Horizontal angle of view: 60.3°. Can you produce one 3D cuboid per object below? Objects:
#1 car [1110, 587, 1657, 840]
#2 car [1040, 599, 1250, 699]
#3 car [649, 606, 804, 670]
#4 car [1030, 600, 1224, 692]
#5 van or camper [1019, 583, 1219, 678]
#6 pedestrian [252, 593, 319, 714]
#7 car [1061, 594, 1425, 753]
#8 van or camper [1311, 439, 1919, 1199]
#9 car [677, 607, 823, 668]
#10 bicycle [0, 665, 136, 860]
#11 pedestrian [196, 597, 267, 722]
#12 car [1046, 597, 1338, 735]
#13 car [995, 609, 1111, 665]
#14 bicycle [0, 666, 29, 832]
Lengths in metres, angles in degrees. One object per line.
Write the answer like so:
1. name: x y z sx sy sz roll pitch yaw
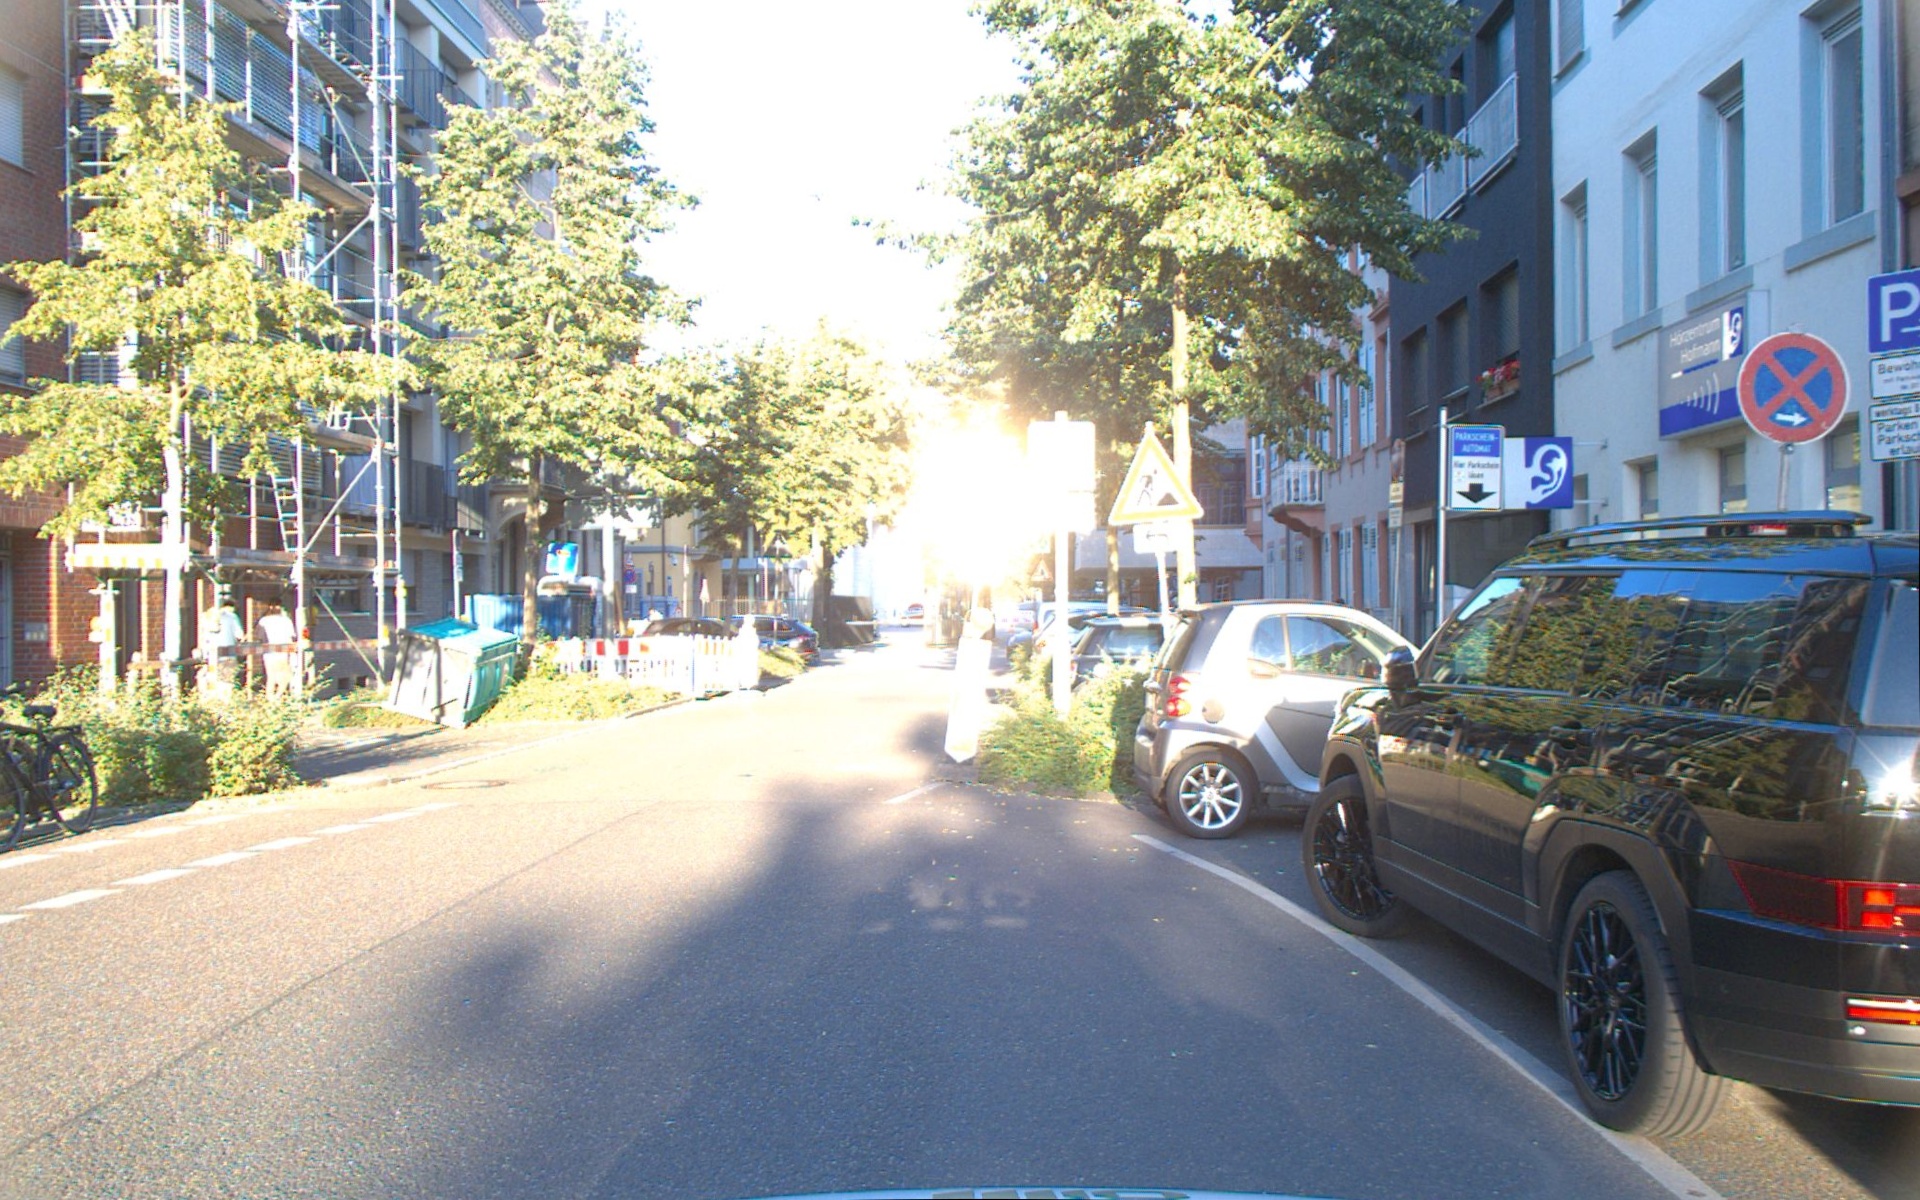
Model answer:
1. car: 2.876 0.729 11.594 3.403 1.603 1.506 0 0 -6
2. car: 3.304 0.868 30.087 3.609 1.699 1.858 1 0 0
3. car: -6.383 1.041 45.499 3.903 1.713 1.892 0 0 5
4. car: 3.211 0.885 32.402 3.609 1.699 1.858 1 0 0
5. van or camper: 3.556 0.679 37.507 4.348 2.041 1.858 1 0 0
6. pedestrian: -10.383 0.815 25.467 0.726 1.814 0.656 -1 -1 1
7. car: 3.179 0.818 19.188 3.913 1.699 1.858 1 0 0
8. van or camper: 2.730 0.577 5.859 1.852 1.839 4.458 0 0 -3
9. car: -6.073 1.070 48.180 3.903 1.713 1.892 0 0 5
10. bicycle: -6.386 1.080 11.465 0.496 1.199 1.553 -1 0 3
11. pedestrian: -10.741 0.870 24.402 0.726 1.814 0.657 -1 -1 3
12. car: 2.993 0.844 21.931 3.609 1.699 1.858 1 0 0
13. car: 2.854 1.100 49.922 1.821 1.595 3.683 1 0 35
14. bicycle: -7.176 1.077 11.487 0.477 1.183 1.553 -1 0 3
